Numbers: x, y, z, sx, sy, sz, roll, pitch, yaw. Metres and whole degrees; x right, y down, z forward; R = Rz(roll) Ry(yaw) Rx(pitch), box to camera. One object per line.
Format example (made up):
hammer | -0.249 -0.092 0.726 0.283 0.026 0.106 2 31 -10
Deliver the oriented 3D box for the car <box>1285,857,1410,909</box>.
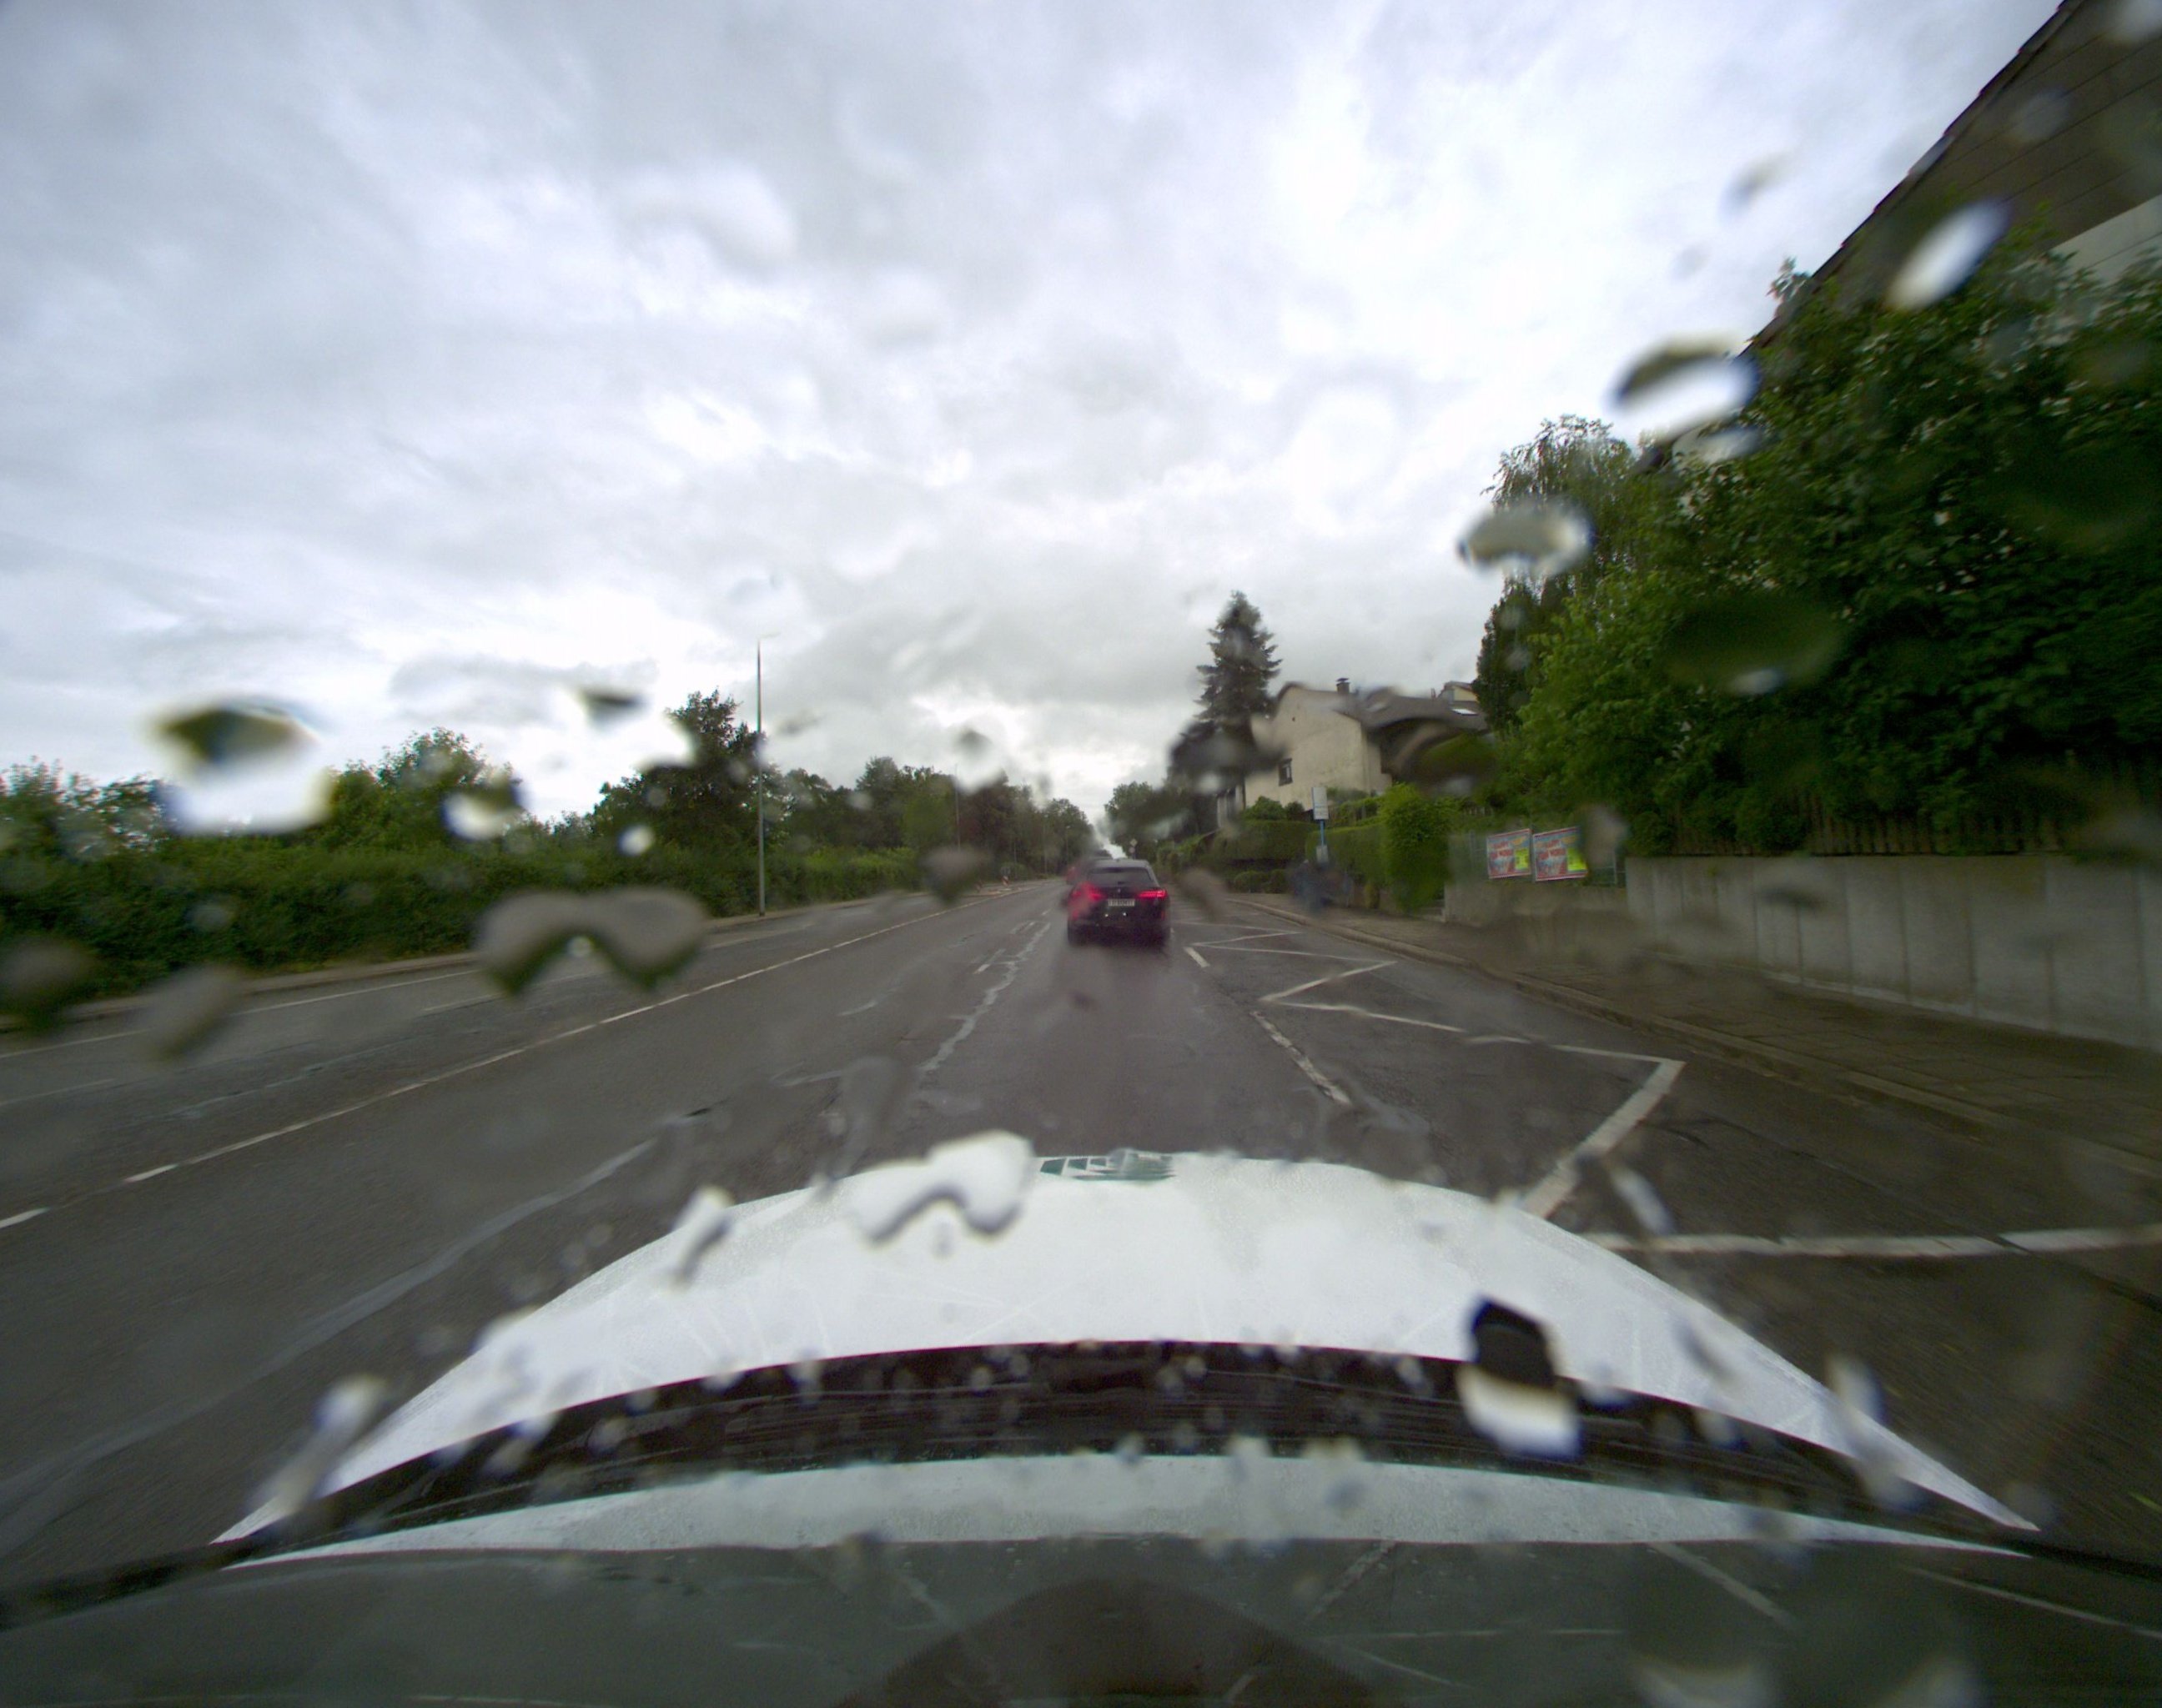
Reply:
car | 9.110 1.018 27.872 3.706 1.298 1.761 8 -5 -19

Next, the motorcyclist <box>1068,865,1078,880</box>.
motorcyclist | -0.829 1.884 83.454 1.036 1.568 0.855 0 -1 1

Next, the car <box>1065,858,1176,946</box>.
car | 0.760 0.842 15.924 1.889 1.489 4.002 0 -1 2

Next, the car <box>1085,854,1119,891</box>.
car | 1.143 0.957 44.089 1.623 1.833 4.001 -3 0 1

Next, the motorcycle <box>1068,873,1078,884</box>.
motorcycle | -0.835 2.520 83.466 0.873 1.124 2.741 0 -1 1

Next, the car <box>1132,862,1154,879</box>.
car | 5.735 1.498 75.806 1.927 1.442 4.412 -3 -1 4
